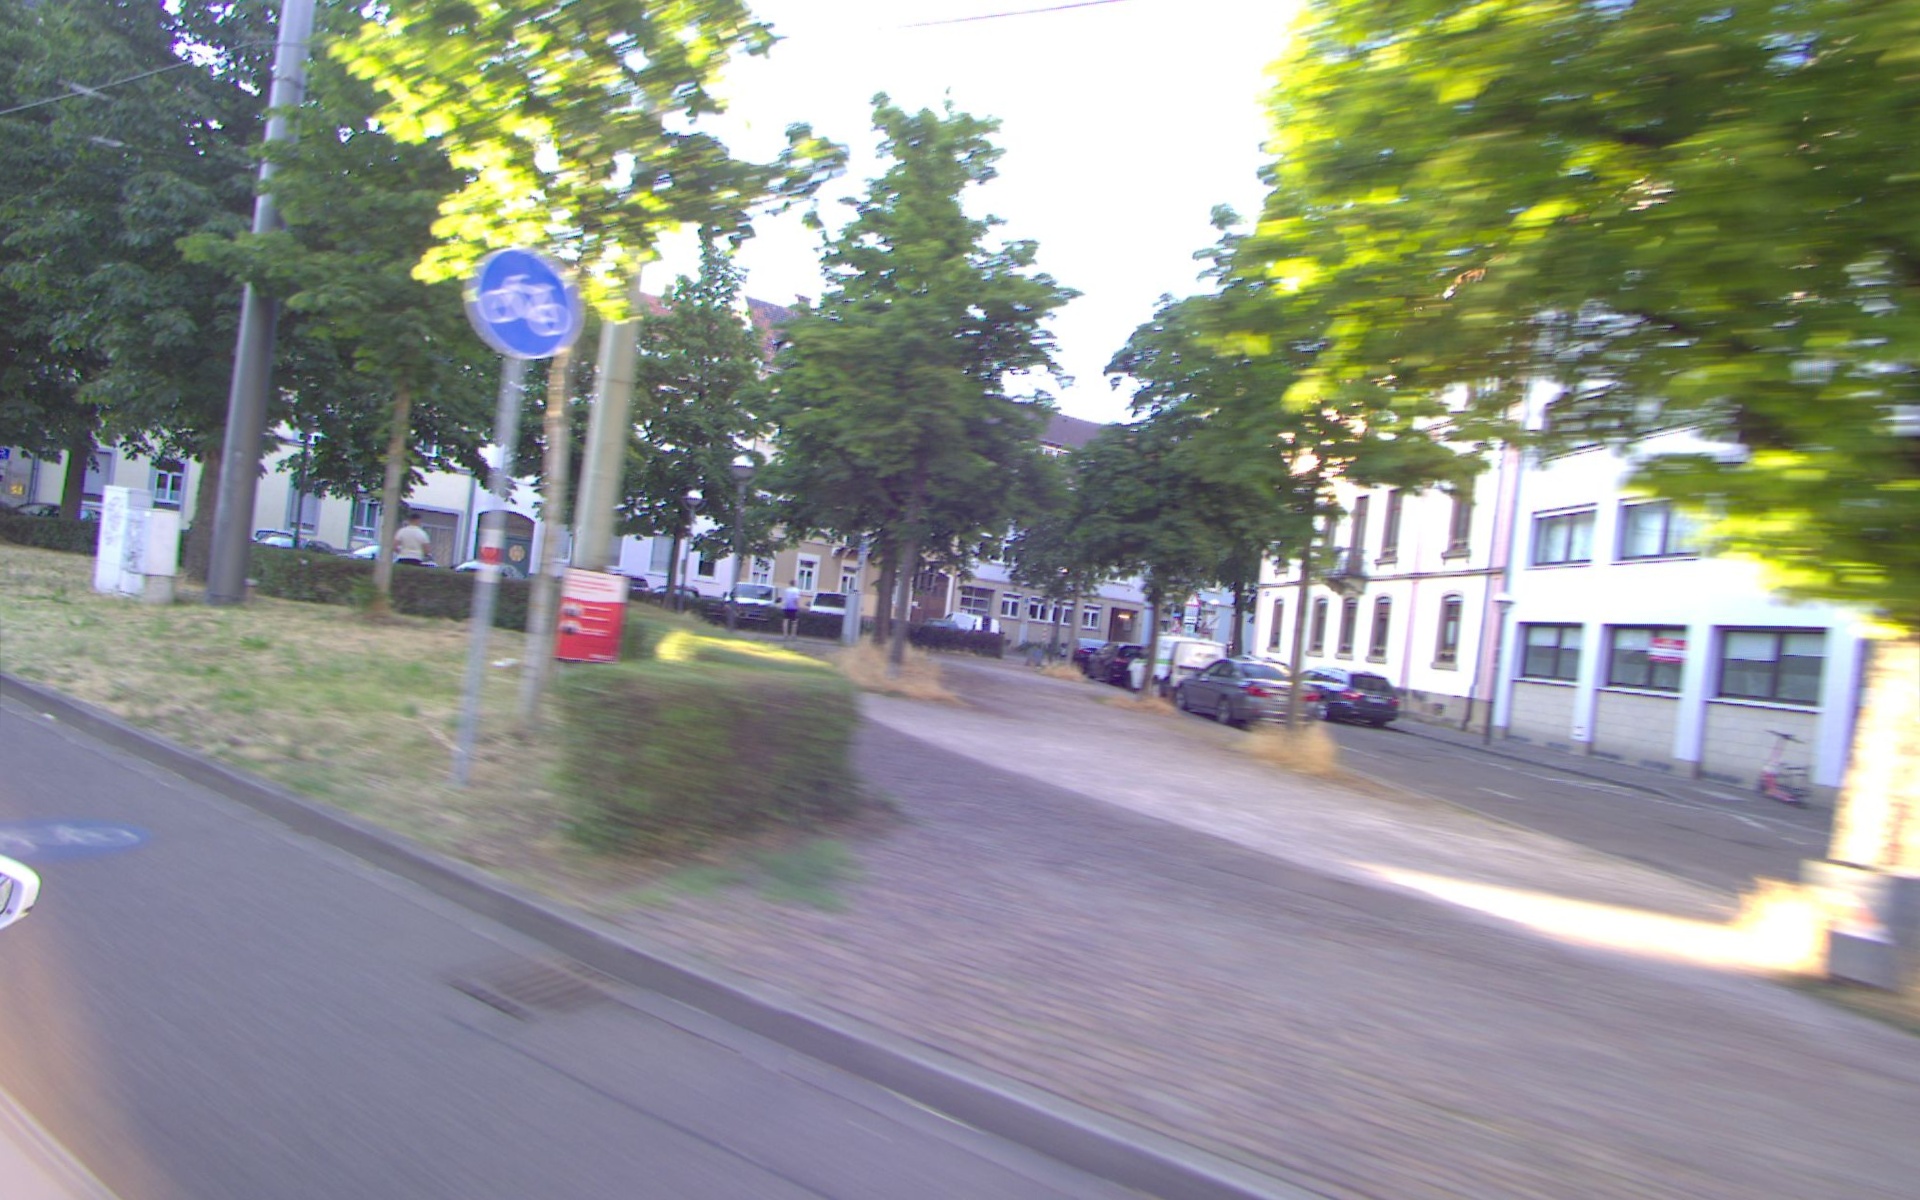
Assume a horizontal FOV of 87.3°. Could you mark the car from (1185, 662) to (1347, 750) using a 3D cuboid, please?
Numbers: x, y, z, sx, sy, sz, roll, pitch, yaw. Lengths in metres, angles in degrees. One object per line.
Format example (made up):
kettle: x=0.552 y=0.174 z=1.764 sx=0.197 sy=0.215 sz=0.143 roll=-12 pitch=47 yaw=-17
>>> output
car: x=6.666 y=2.278 z=22.458 sx=1.828 sy=1.443 sz=4.328 roll=5 pitch=-2 yaw=-6

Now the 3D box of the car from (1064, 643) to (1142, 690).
car: x=5.397 y=2.497 z=38.542 sx=1.828 sy=1.443 sz=4.328 roll=5 pitch=-2 yaw=-6

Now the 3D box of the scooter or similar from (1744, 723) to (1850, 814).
scooter or similar: x=15.078 y=3.004 z=18.167 sx=0.423 sy=1.384 sz=1.690 roll=6 pitch=-1 yaw=2

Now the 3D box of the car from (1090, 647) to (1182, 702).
car: x=5.805 y=2.451 z=33.715 sx=1.828 sy=1.443 sz=4.328 roll=5 pitch=-2 yaw=-6

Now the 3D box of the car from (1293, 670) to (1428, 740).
car: x=11.154 y=2.890 z=28.309 sx=1.801 sy=1.456 sz=3.867 roll=7 pitch=-2 yaw=-6

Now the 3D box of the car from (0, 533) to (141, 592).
car: x=-26.751 y=-1.098 z=29.700 sx=1.828 sy=1.443 sz=4.328 roll=5 pitch=-2 yaw=-6

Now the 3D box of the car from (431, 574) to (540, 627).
car: x=-15.606 y=0.067 z=33.358 sx=1.829 sy=1.443 sz=4.328 roll=7 pitch=-2 yaw=-6

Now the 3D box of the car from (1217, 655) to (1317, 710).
car: x=10.582 y=2.816 z=34.981 sx=1.801 sy=1.456 sz=3.867 roll=7 pitch=-2 yaw=-6

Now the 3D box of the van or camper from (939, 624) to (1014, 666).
van or camper: x=0.863 y=2.479 z=55.958 sx=1.817 sy=1.892 sz=4.325 roll=7 pitch=-2 yaw=-35

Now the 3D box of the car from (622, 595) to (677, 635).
car: x=-14.569 y=0.696 z=47.398 sx=1.967 sy=1.582 sz=3.993 roll=7 pitch=-2 yaw=-12

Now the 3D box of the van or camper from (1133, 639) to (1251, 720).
van or camper: x=6.279 y=2.117 z=27.700 sx=1.801 sy=1.789 sz=3.867 roll=7 pitch=-2 yaw=-6

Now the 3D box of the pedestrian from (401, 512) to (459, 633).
pedestrian: x=-9.446 y=-0.479 z=17.955 sx=0.642 sy=2.037 sz=0.814 roll=7 pitch=-1 yaw=-23

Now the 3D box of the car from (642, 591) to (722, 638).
car: x=-10.039 y=0.537 z=36.659 sx=1.828 sy=1.443 sz=4.469 roll=5 pitch=-2 yaw=-3

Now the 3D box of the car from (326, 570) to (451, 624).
car: x=-18.305 y=-0.044 z=32.445 sx=1.828 sy=1.443 sz=4.328 roll=5 pitch=-2 yaw=-6

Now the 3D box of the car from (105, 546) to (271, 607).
car: x=-22.773 y=-0.637 z=29.919 sx=1.828 sy=1.443 sz=4.328 roll=5 pitch=-2 yaw=-6

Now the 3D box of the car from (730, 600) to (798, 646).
car: x=-7.340 y=0.877 z=38.085 sx=1.828 sy=1.443 sz=4.469 roll=5 pitch=-2 yaw=-3

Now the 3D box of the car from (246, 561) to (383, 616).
car: x=-20.388 y=-0.293 z=31.998 sx=1.828 sy=1.443 sz=4.328 roll=5 pitch=-2 yaw=-6

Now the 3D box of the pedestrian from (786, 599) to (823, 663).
pedestrian: x=-4.565 y=0.895 z=29.510 sx=0.759 sy=1.770 sz=1.004 roll=6 pitch=-1 yaw=-17

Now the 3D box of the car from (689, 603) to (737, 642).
car: x=-11.806 y=1.042 z=48.254 sx=1.967 sy=1.582 sz=3.993 roll=7 pitch=-2 yaw=-12

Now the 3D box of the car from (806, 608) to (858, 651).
car: x=-5.006 y=1.160 z=39.685 sx=1.828 sy=1.443 sz=4.328 roll=5 pitch=-2 yaw=-6

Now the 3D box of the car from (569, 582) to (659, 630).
car: x=-12.367 y=0.255 z=36.245 sx=1.828 sy=1.443 sz=4.469 roll=5 pitch=-2 yaw=-3
